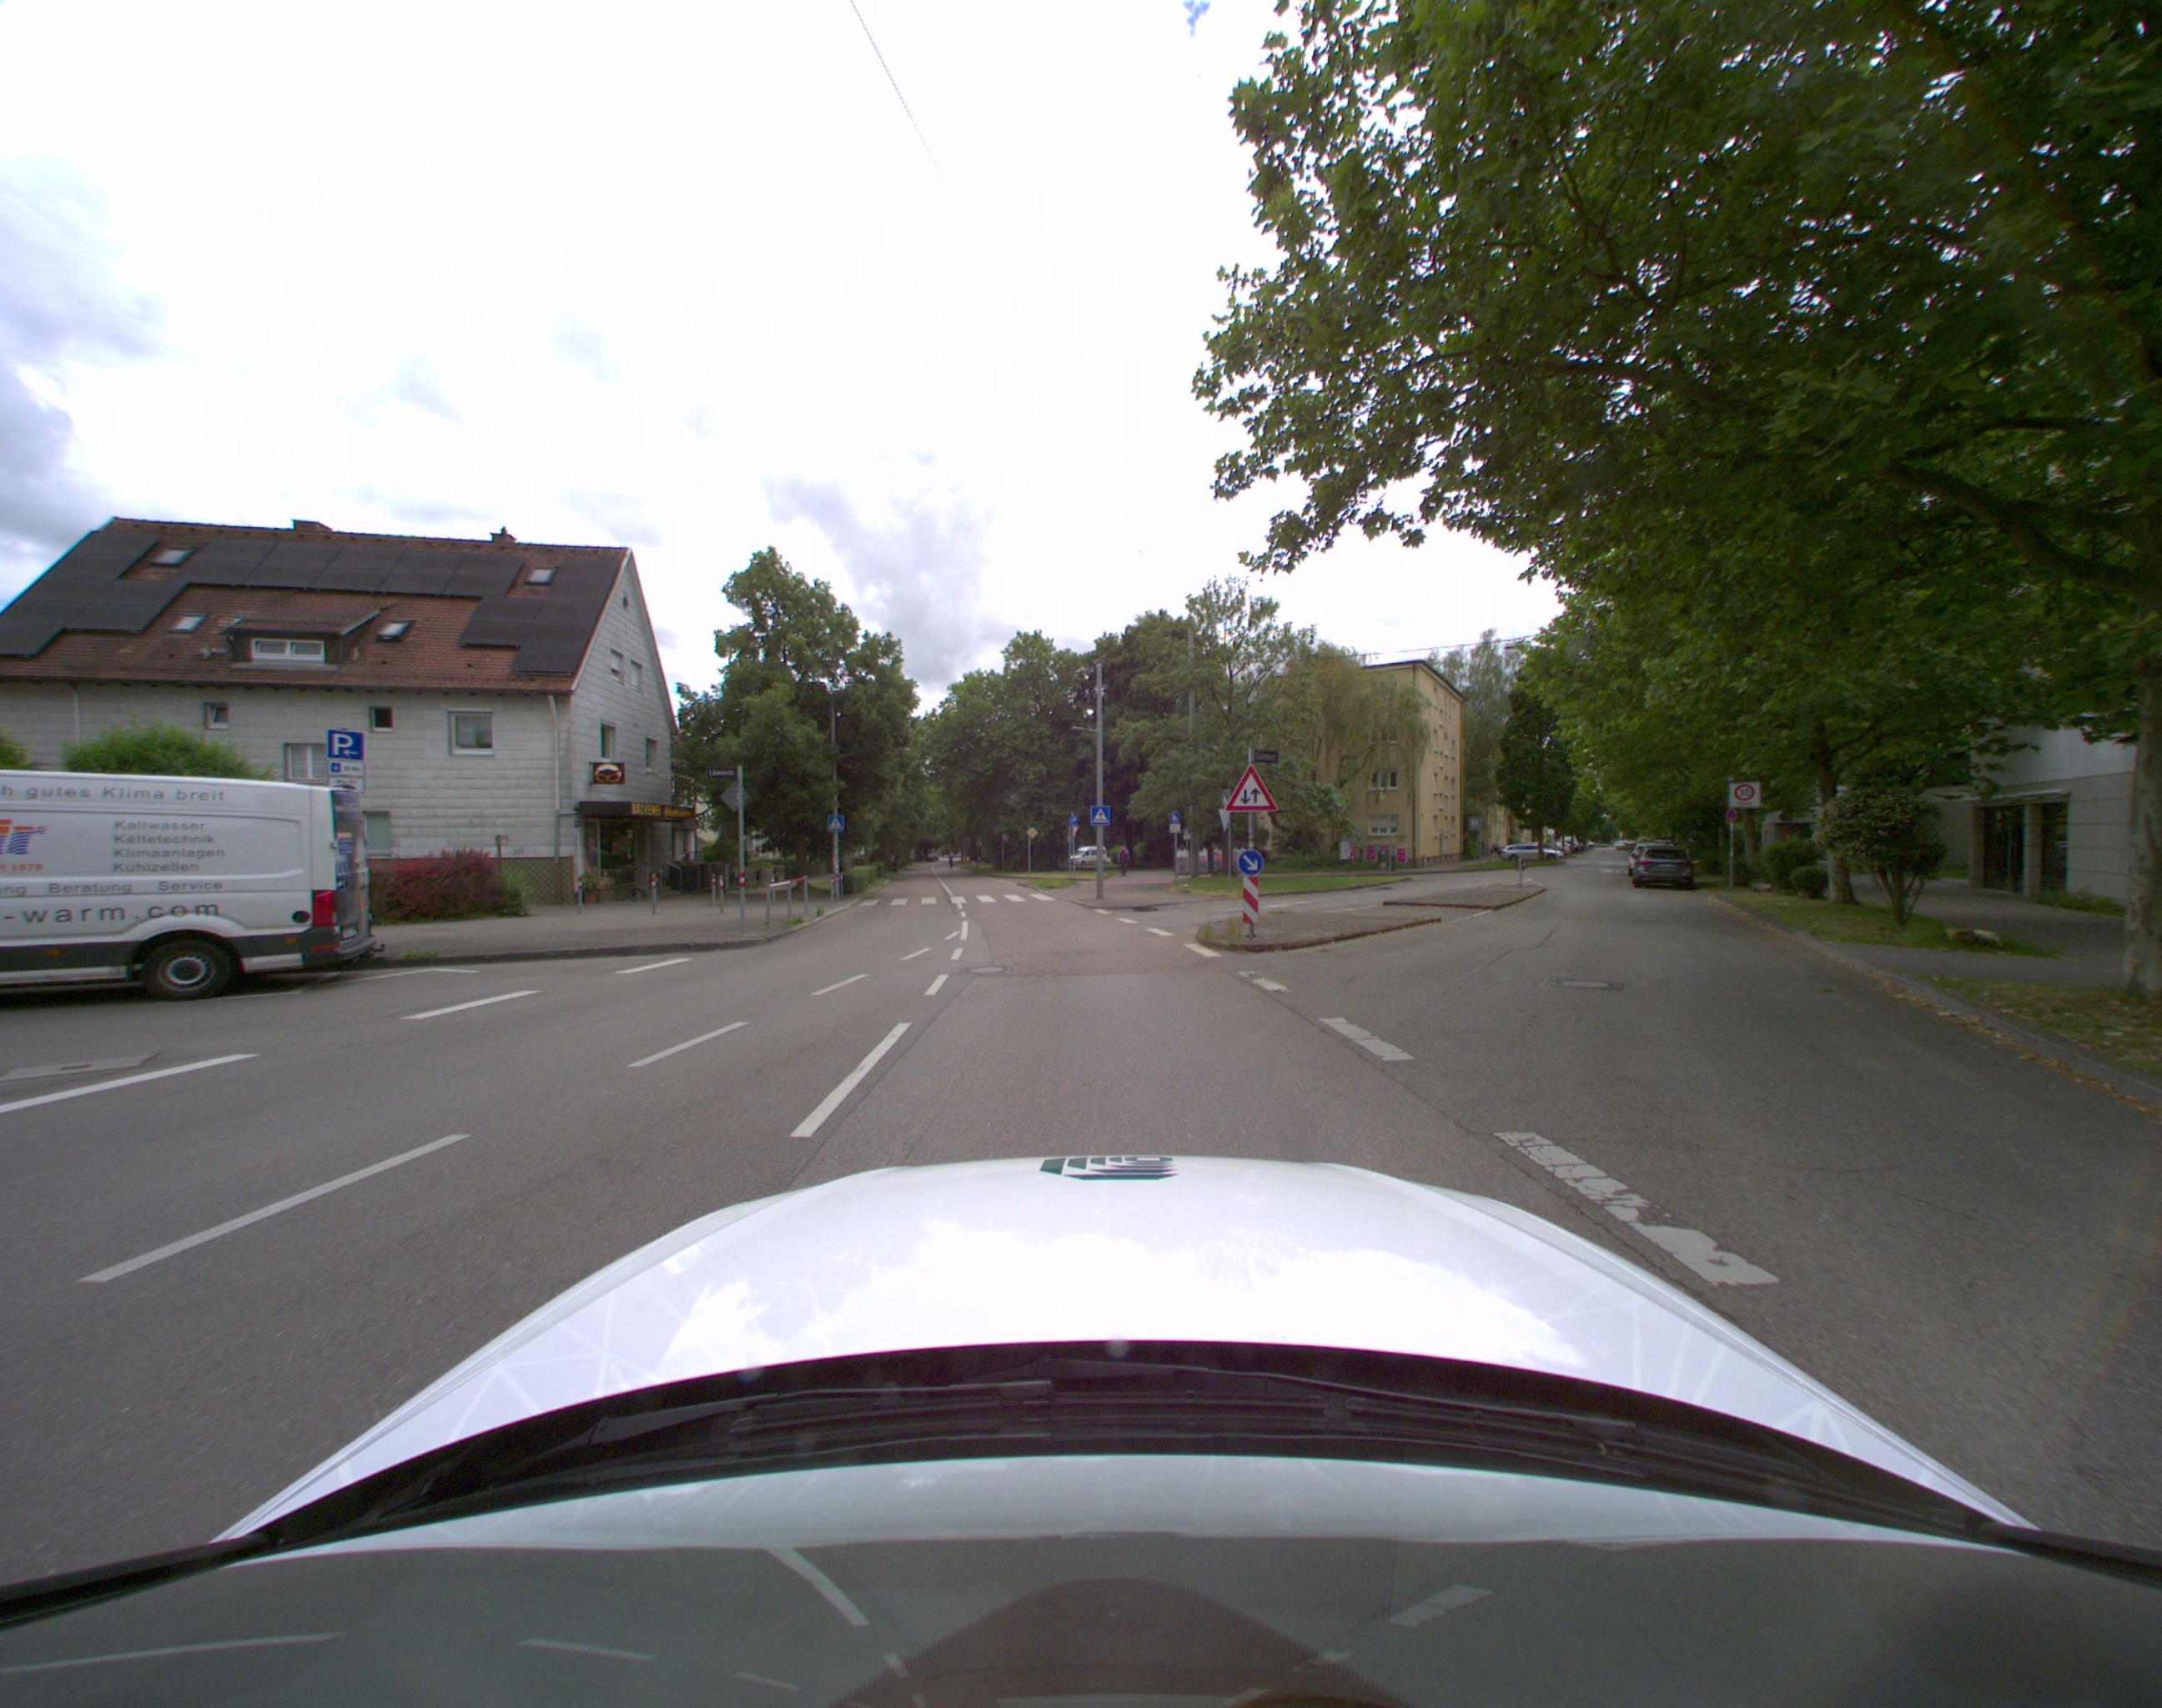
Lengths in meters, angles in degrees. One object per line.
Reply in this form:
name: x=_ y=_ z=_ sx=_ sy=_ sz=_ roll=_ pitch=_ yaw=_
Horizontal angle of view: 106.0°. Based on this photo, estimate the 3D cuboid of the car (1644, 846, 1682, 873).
car: x=32.440 y=0.299 z=45.363 sx=1.627 sy=1.375 sz=3.466 roll=3 pitch=1 yaw=36

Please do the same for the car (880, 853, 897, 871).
car: x=-19.951 y=0.851 z=84.354 sx=1.645 sy=1.724 sz=3.781 roll=2 pitch=1 yaw=-15

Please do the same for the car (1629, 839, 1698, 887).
car: x=21.478 y=0.307 z=30.169 sx=1.856 sy=1.568 sz=4.044 roll=3 pitch=1 yaw=33

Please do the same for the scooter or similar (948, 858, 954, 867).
scooter or similar: x=-14.869 y=0.969 z=93.285 sx=0.600 sy=1.054 sz=0.870 roll=-2 pitch=2 yaw=-9

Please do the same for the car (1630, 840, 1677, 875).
car: x=27.563 y=0.159 z=39.266 sx=1.761 sy=1.598 sz=4.275 roll=1 pitch=1 yaw=34

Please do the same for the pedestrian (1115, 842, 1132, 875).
pedestrian: x=2.607 y=0.268 z=49.841 sx=0.920 sy=1.871 sz=1.020 roll=-4 pitch=3 yaw=1

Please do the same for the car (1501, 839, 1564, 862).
car: x=35.930 y=-0.271 z=64.833 sx=4.153 sy=1.576 sz=1.829 roll=-3 pitch=-2 yaw=33

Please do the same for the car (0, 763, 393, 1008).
car: x=-12.251 y=0.303 z=8.877 sx=7.005 sy=2.522 sz=2.064 roll=0 pitch=1 yaw=-32

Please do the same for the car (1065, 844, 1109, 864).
car: x=0.788 y=0.027 z=99.409 sx=2.111 sy=2.297 sz=5.417 roll=3 pitch=1 yaw=44

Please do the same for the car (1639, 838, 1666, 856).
car: x=50.323 y=-0.603 z=71.769 sx=1.765 sy=1.448 sz=4.114 roll=3 pitch=1 yaw=33

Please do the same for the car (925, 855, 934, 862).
car: x=-35.547 y=1.063 z=190.849 sx=1.835 sy=1.498 sz=3.642 roll=2 pitch=1 yaw=-12

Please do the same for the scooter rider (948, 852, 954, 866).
scooter rider: x=-14.904 y=0.607 z=93.426 sx=0.600 sy=1.552 sz=0.564 roll=-2 pitch=1 yaw=-9

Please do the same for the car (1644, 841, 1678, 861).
car: x=47.161 y=-0.260 z=66.270 sx=1.766 sy=1.487 sz=3.657 roll=3 pitch=1 yaw=28
